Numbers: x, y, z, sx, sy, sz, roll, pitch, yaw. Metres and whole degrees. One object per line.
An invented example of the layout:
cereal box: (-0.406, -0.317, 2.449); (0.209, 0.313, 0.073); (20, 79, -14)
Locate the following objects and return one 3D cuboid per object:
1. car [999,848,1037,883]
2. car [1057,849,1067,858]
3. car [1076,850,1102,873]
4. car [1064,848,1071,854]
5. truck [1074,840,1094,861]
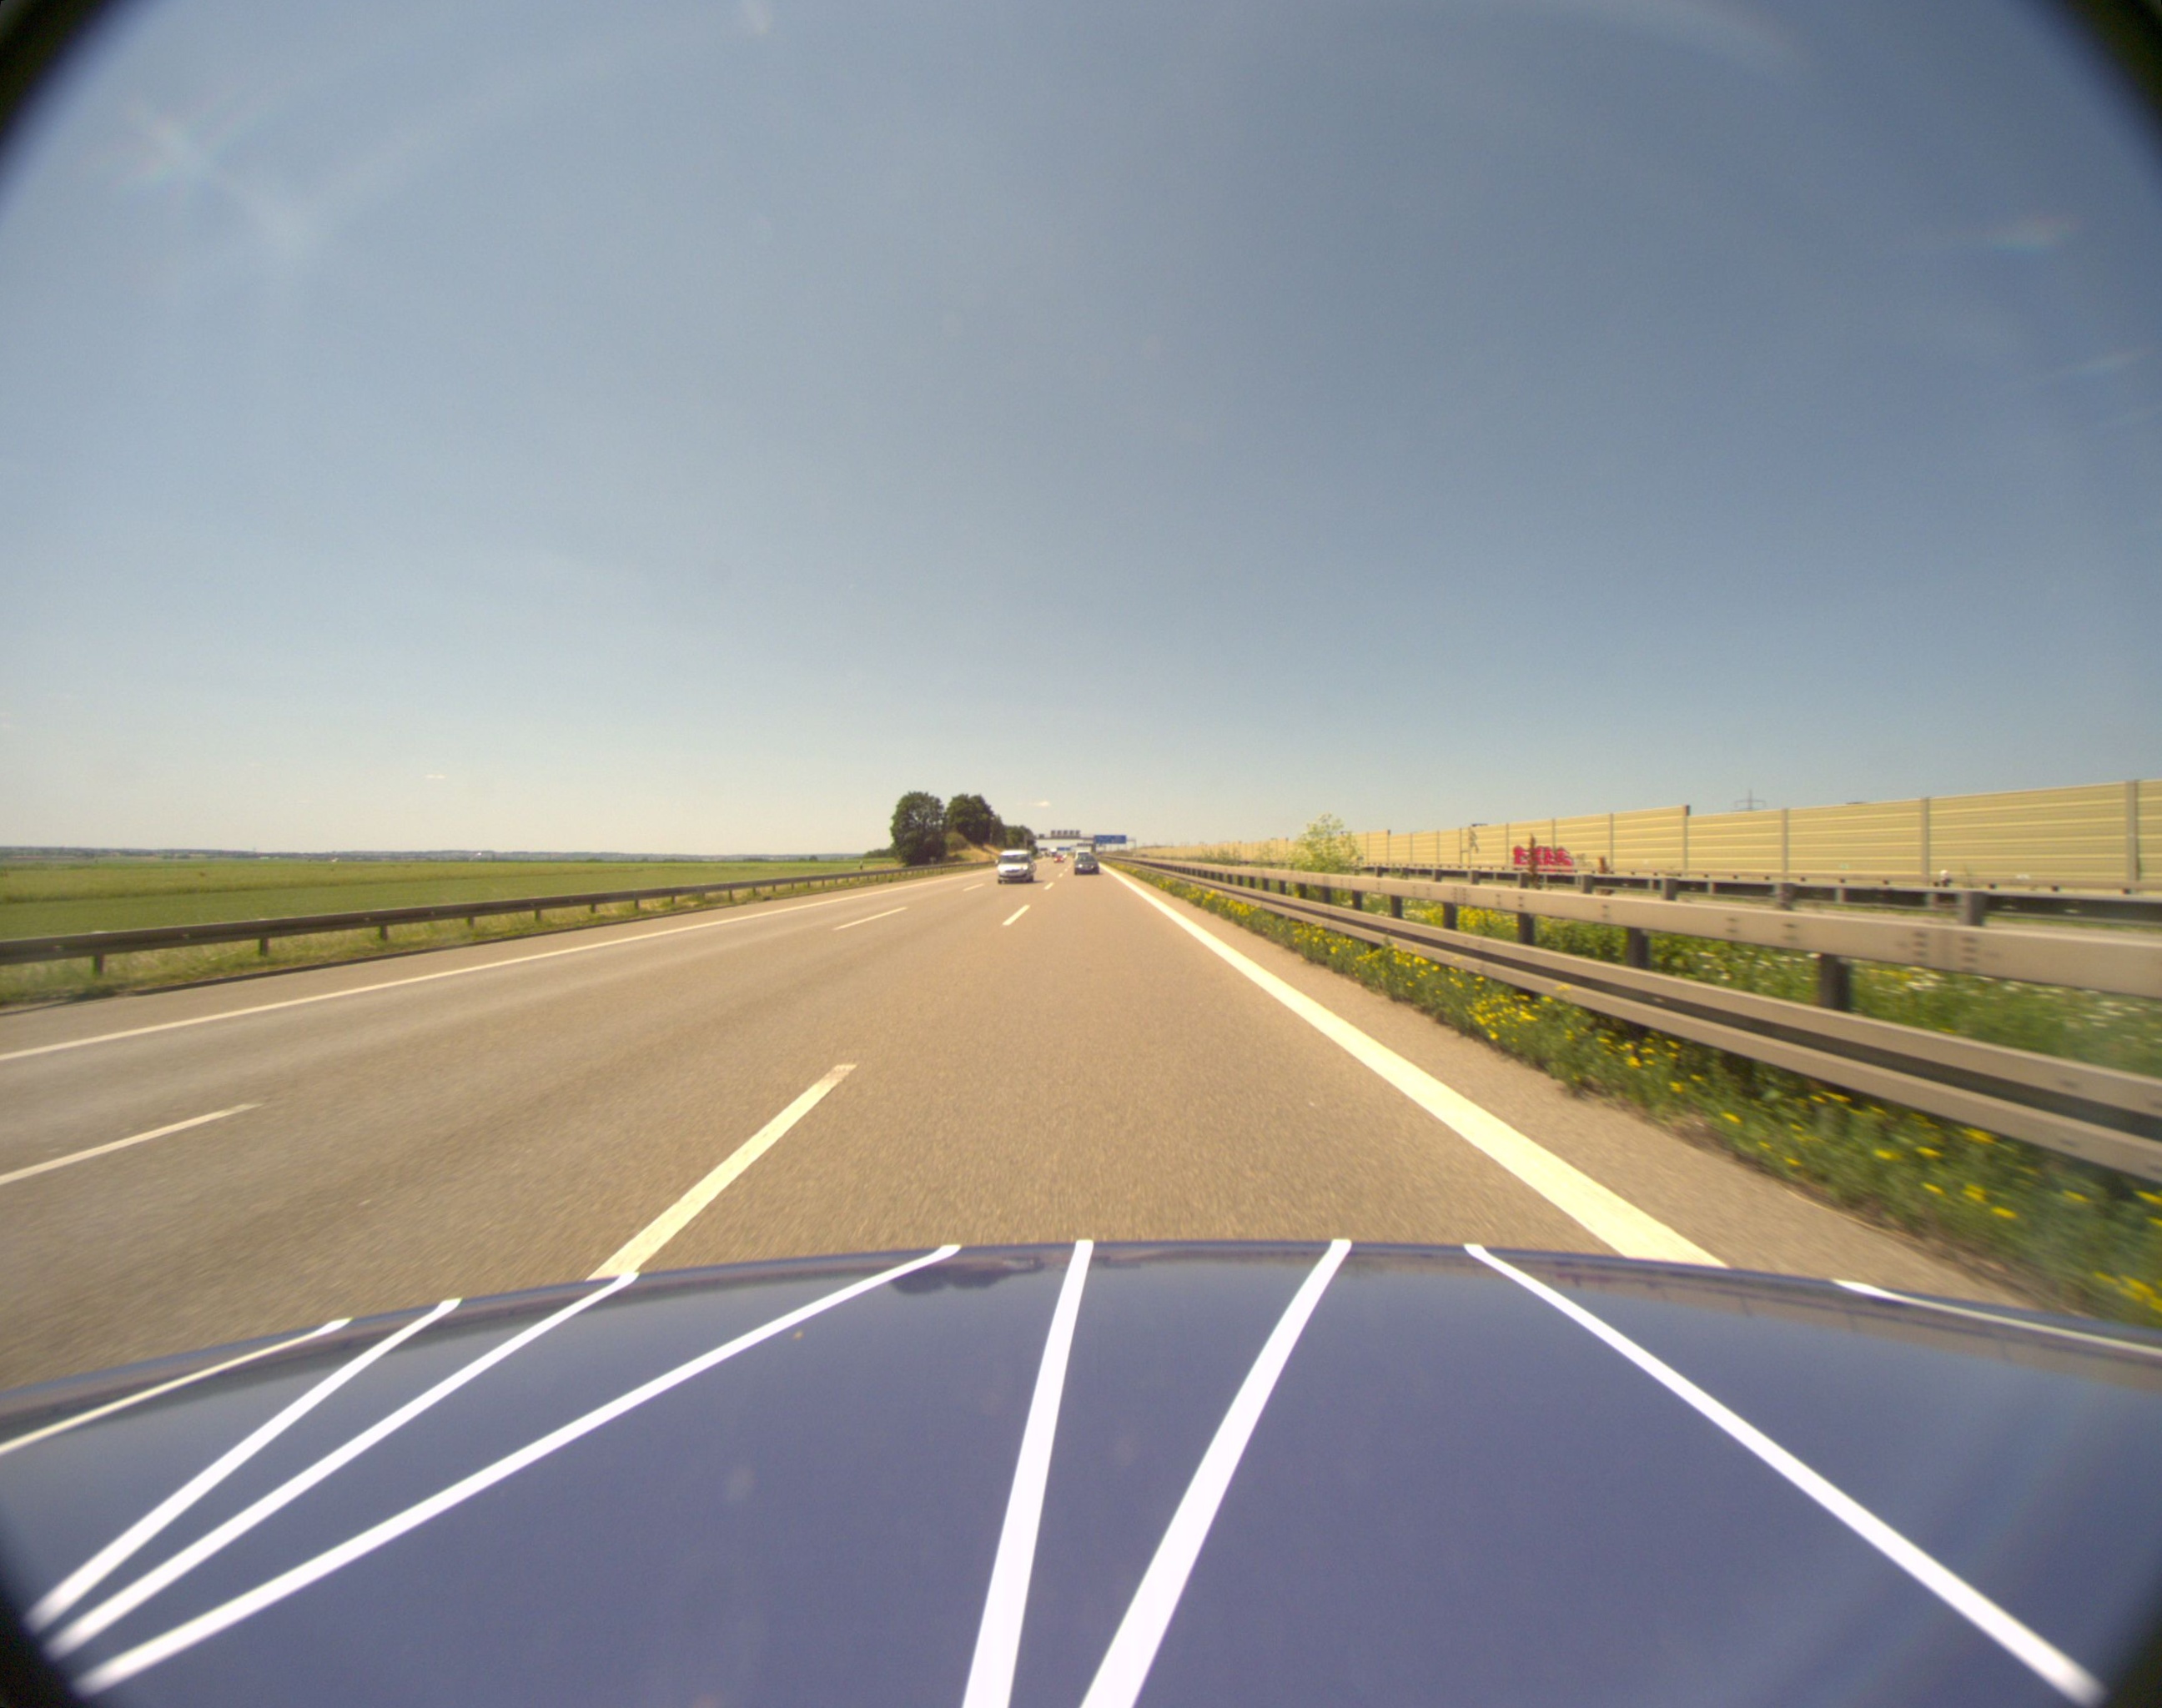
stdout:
car: (-3.492, 0.595, 42.990); (1.812, 1.836, 5.311); (-1, 0, -1)
car: (-3.268, -0.092, 133.564); (1.723, 1.514, 3.581); (-2, 1, -1)
car: (0.558, 0.547, 56.009); (1.715, 1.586, 4.546); (1, 0, -1)
car: (-3.452, -0.889, 196.430); (1.723, 1.514, 3.581); (-2, 1, -1)
truck: (0.325, -0.440, 95.025); (2.333, 2.378, 6.685); (-2, 1, -1)
